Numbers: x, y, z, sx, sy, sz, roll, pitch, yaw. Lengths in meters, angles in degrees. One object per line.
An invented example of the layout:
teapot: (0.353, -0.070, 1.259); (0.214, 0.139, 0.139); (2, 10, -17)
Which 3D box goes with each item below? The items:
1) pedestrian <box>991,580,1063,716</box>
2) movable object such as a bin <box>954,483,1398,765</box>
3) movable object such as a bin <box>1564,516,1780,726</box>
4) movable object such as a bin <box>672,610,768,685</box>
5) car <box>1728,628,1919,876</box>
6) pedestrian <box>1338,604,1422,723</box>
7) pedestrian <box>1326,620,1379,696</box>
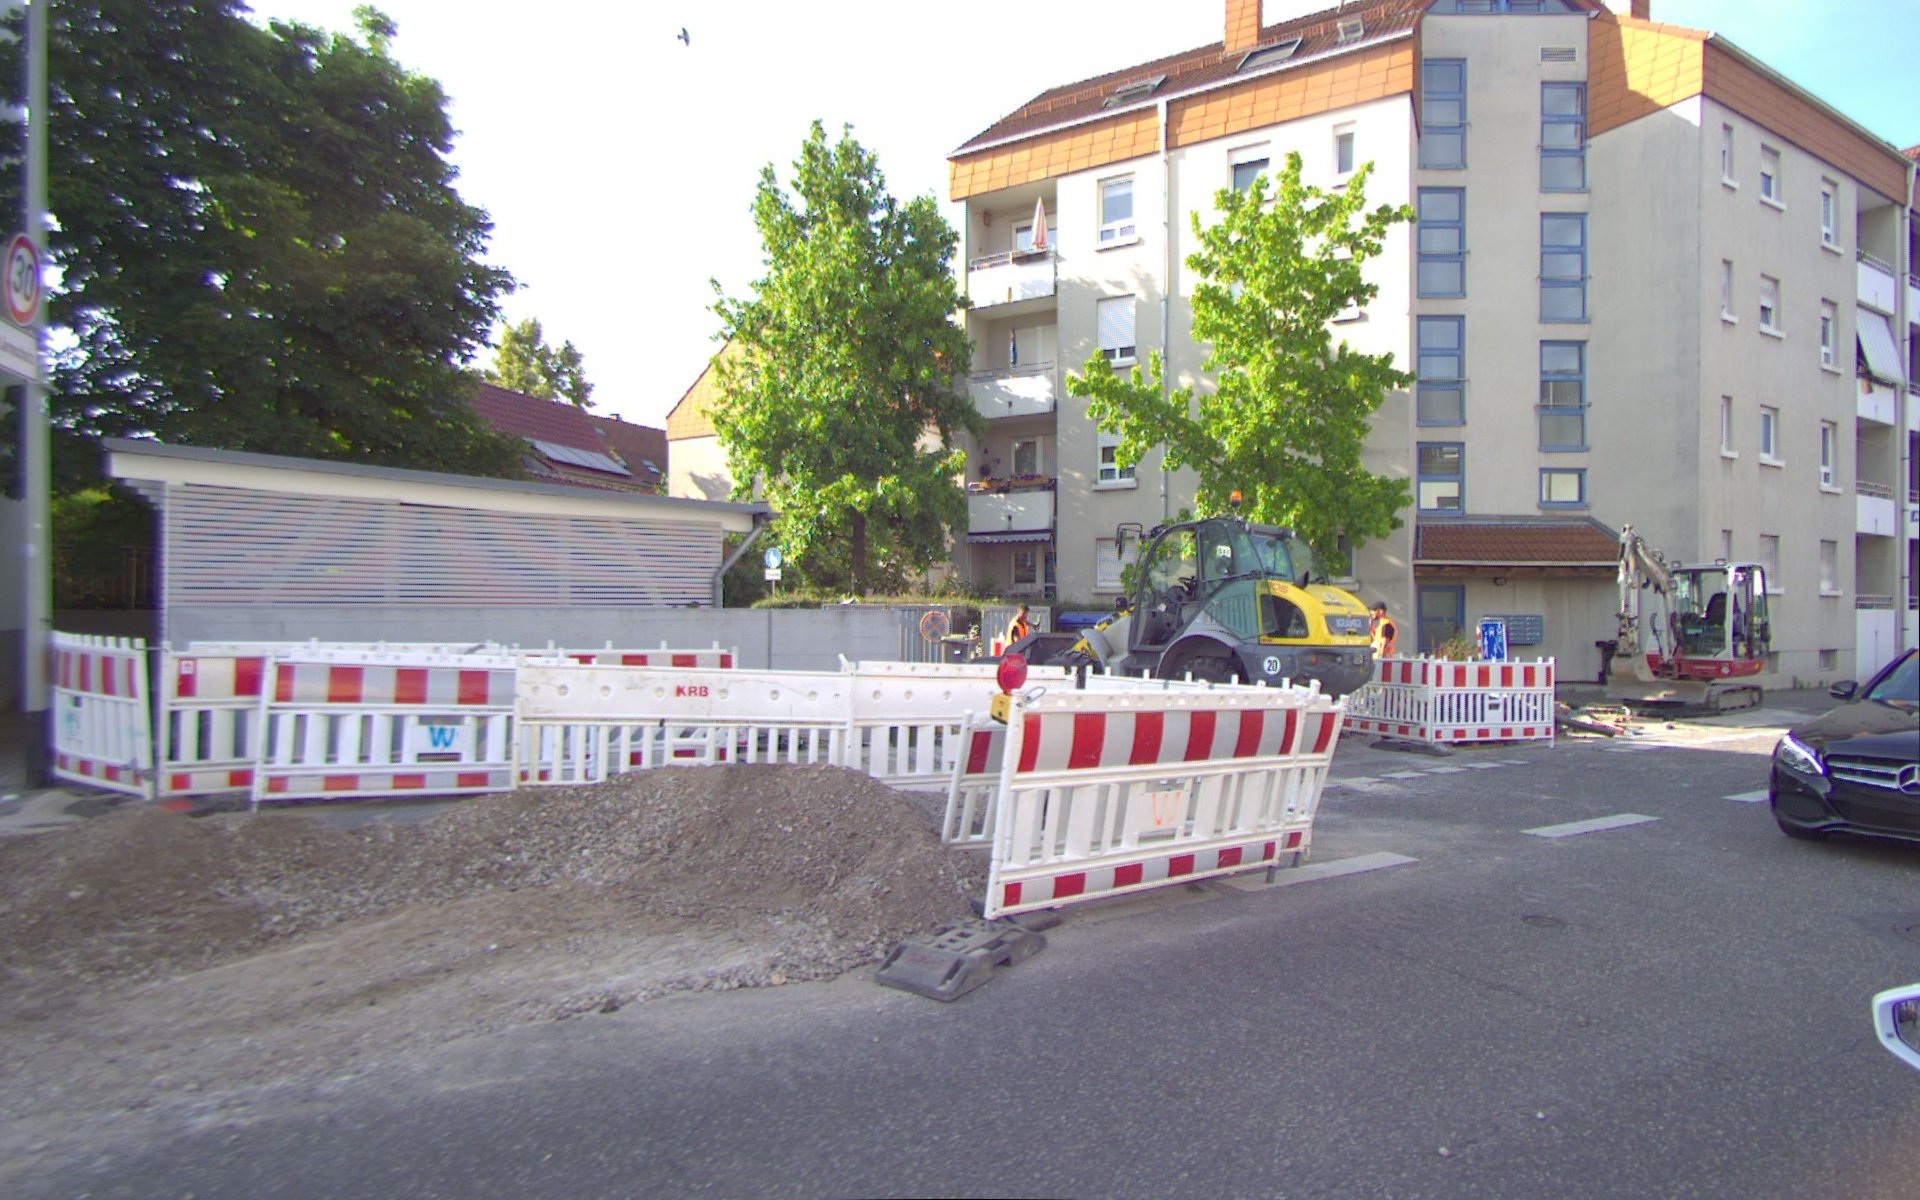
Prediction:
pedestrian: (1.038, 0.732, 15.639); (0.879, 2.045, 0.764); (1, 0, -19)
movable object such as a bin: (2.562, 0.225, 13.173); (2.098, 2.939, 5.441); (0, 1, -45)
movable object such as a bin: (12.055, 0.342, 16.948); (3.857, 3.180, 1.639); (0, -1, -32)
movable object such as a bin: (-5.021, 0.966, 21.137); (1.294, 1.466, 1.626); (2, 0, 16)
car: (7.354, 0.923, 7.017); (4.162, 1.439, 1.820); (1, -1, -32)
pedestrian: (6.163, 0.905, 14.751); (0.982, 1.686, 0.665); (1, 0, -30)
pedestrian: (6.021, 0.877, 15.414); (0.590, 1.114, 0.497); (1, 0, -30)
